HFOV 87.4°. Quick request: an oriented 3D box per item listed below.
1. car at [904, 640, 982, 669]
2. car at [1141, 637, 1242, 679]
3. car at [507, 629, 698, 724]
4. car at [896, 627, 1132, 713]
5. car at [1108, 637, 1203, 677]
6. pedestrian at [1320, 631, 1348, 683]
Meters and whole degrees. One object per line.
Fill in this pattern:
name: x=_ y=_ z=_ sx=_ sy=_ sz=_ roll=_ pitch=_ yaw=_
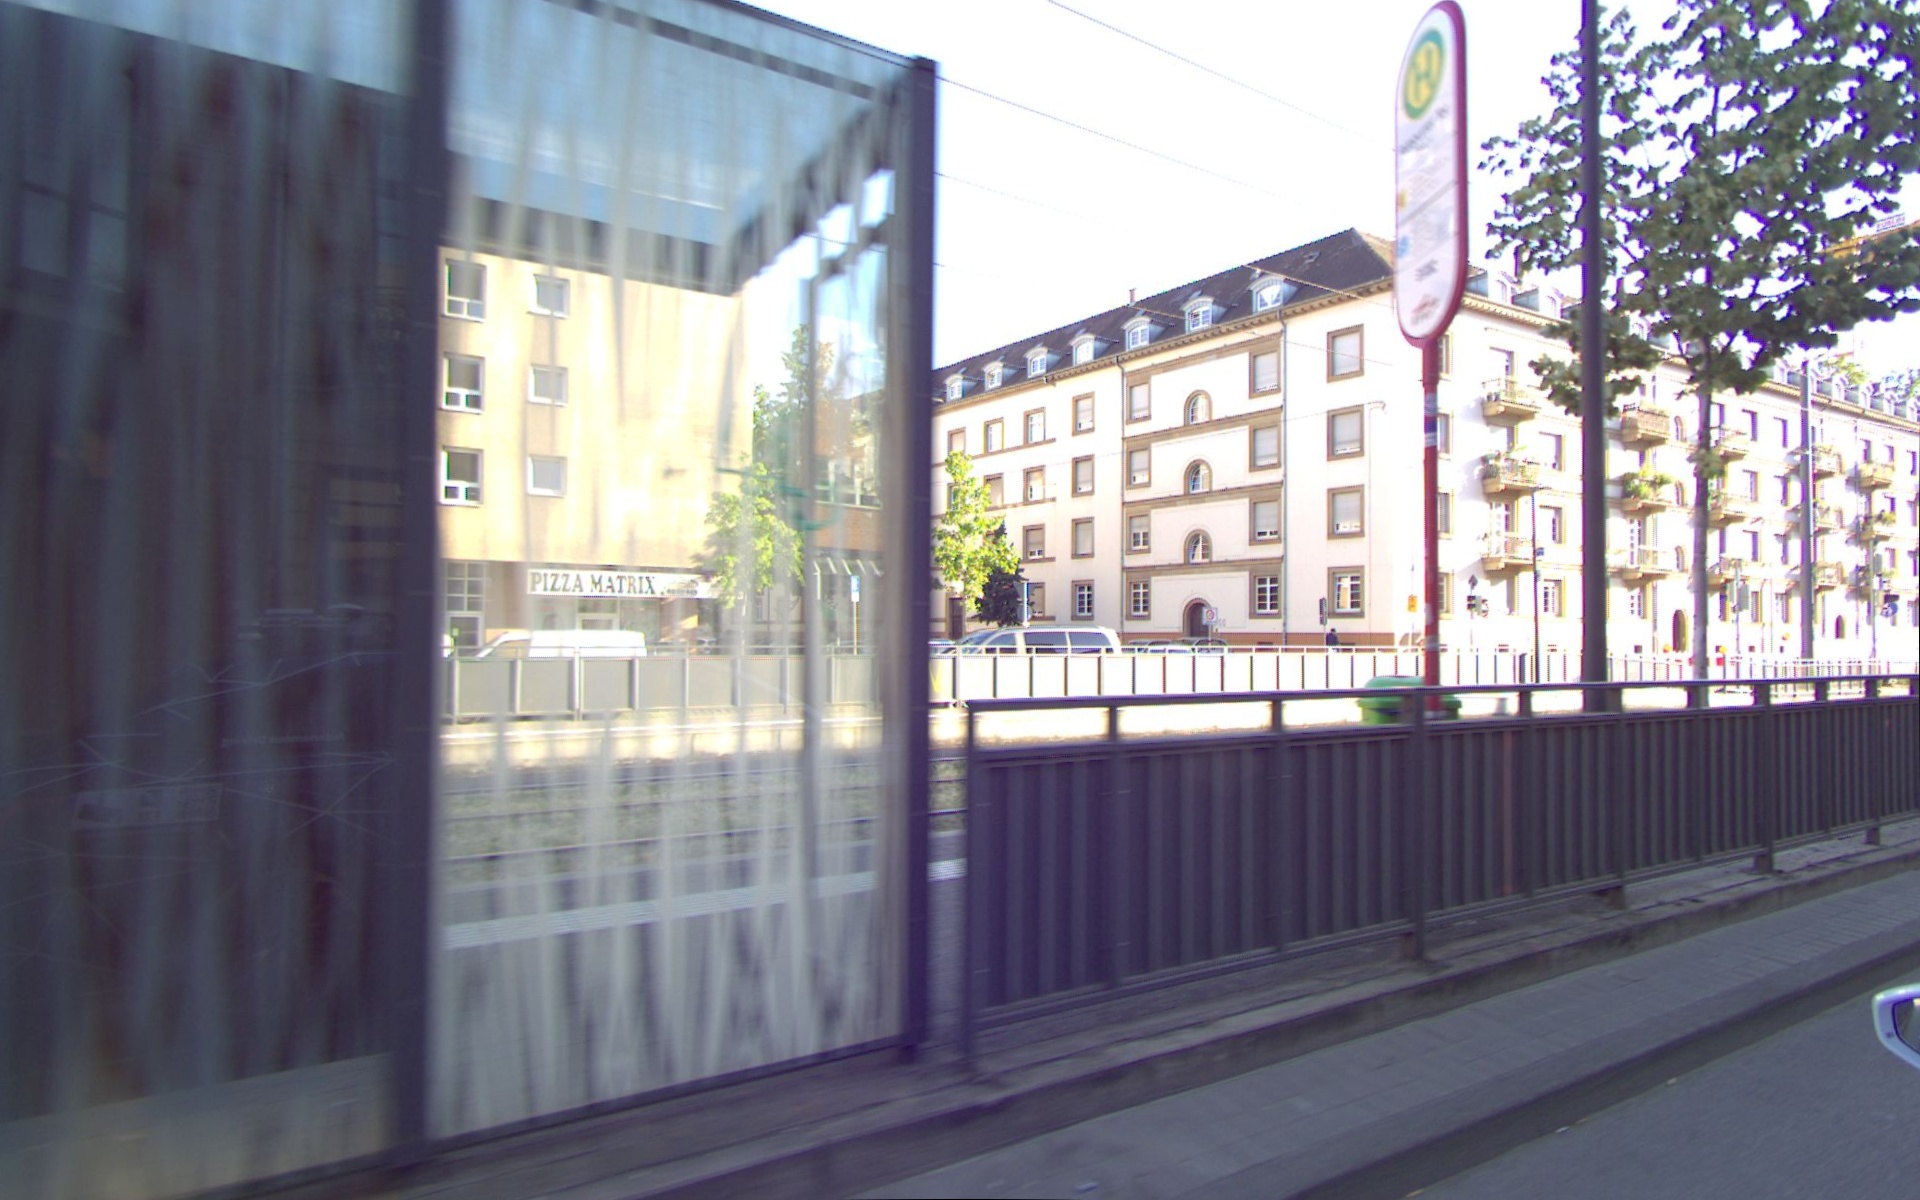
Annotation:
car: x=-0.913 y=2.959 z=55.121 sx=3.961 sy=1.521 sz=1.825 roll=1 pitch=-2 yaw=-36
car: x=9.577 y=2.347 z=41.417 sx=4.090 sy=1.606 sz=1.825 roll=1 pitch=-2 yaw=-36
car: x=-8.406 y=1.723 z=23.640 sx=4.090 sy=2.040 sz=1.988 roll=0 pitch=-2 yaw=-25
car: x=1.212 y=1.501 z=22.275 sx=4.874 sy=1.740 sz=1.988 roll=1 pitch=-2 yaw=-25
car: x=8.452 y=2.420 z=43.342 sx=3.961 sy=1.606 sz=1.825 roll=1 pitch=-2 yaw=-36
pedestrian: x=14.734 y=2.240 z=39.610 sx=0.618 sy=2.040 sz=0.797 roll=0 pitch=-2 yaw=-30
